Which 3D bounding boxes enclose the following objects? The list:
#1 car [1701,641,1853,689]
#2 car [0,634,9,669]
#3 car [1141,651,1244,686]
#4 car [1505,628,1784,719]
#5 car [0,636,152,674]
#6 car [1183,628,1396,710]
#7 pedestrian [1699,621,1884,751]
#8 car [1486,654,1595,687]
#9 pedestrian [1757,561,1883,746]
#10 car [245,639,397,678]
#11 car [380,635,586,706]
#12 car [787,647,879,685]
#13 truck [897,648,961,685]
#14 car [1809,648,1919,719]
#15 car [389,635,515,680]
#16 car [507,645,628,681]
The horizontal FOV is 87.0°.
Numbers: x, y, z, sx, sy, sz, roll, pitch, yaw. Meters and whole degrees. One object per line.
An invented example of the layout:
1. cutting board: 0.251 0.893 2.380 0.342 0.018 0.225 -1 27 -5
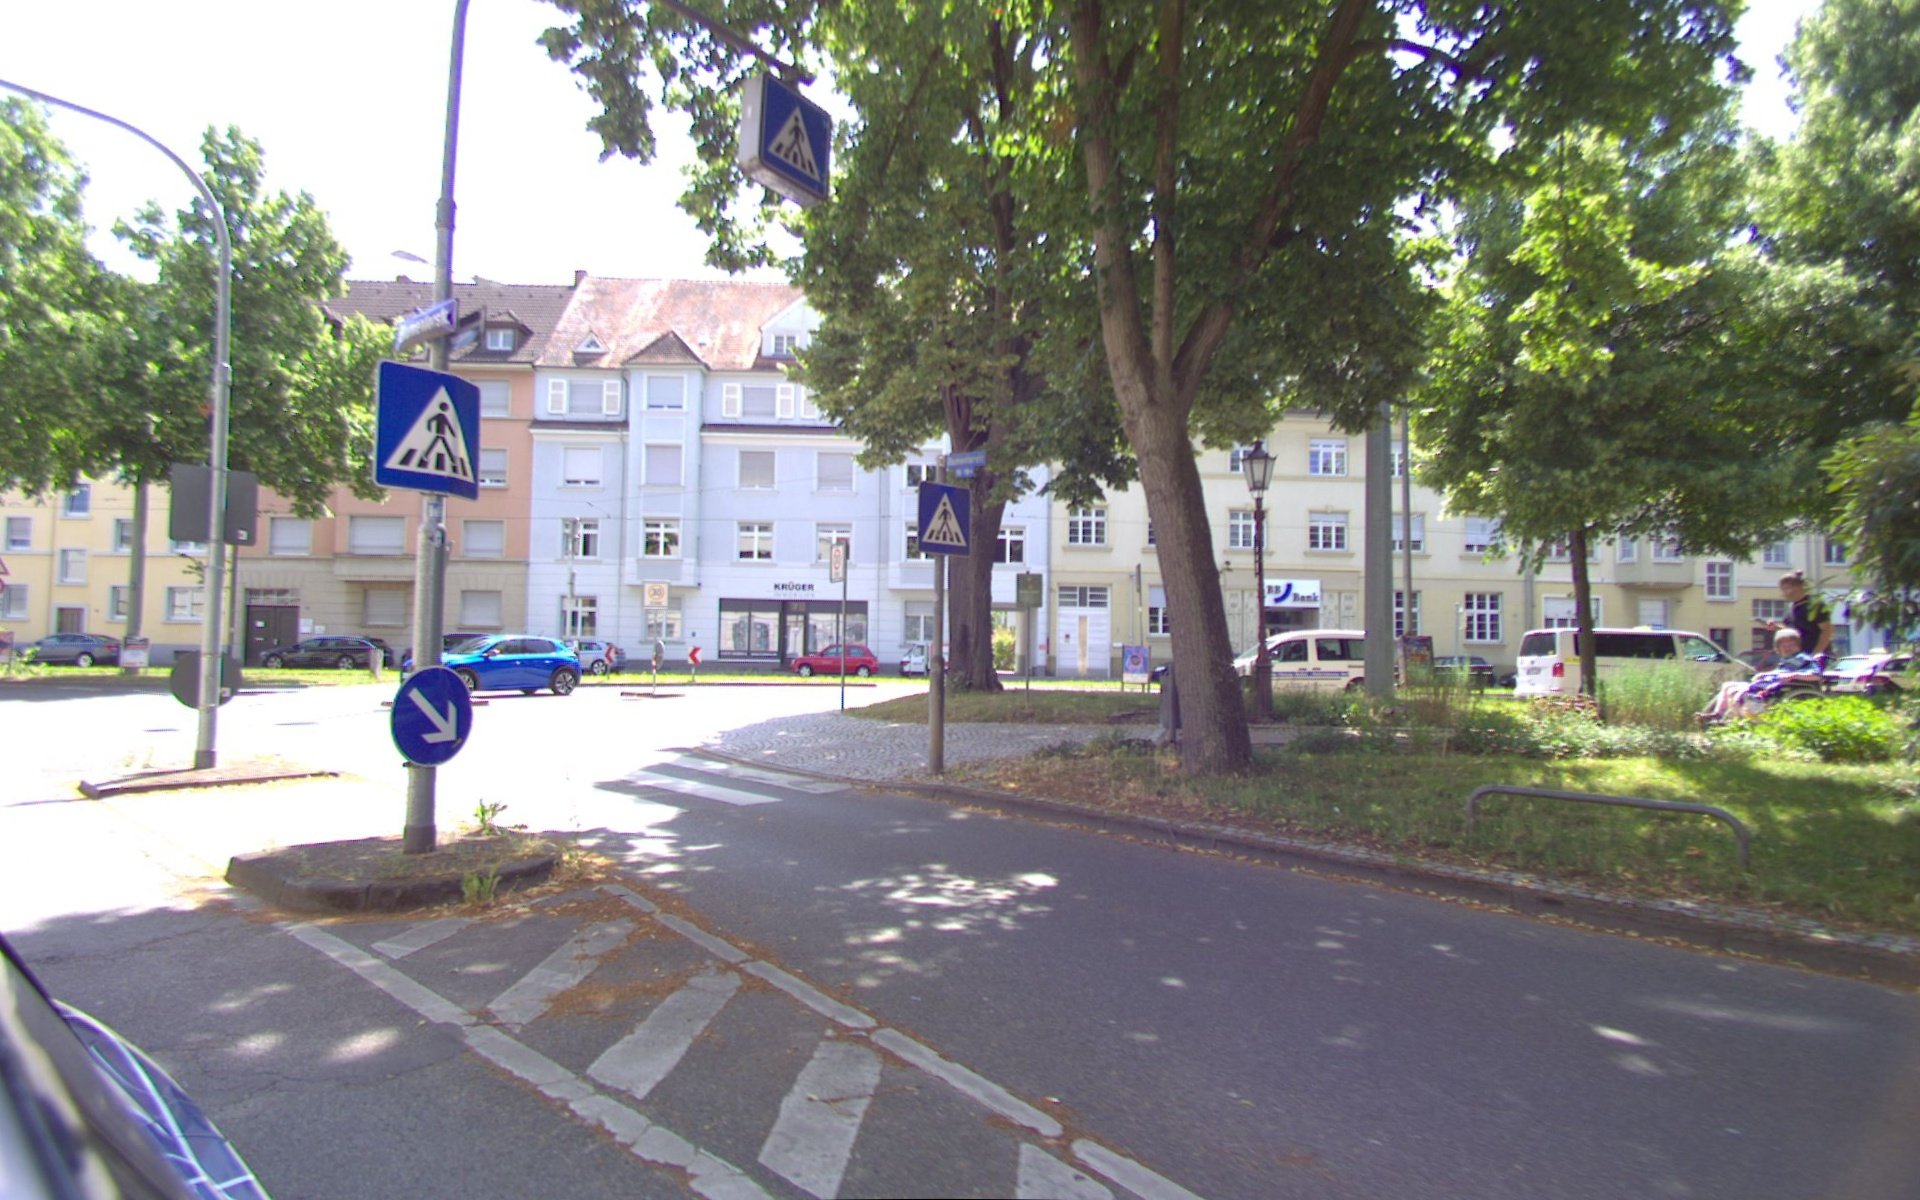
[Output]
1. car: 33.874 2.720 42.059 4.702 1.926 1.859 1 -5 -1
2. car: -40.843 2.012 40.321 4.083 1.411 1.837 1 -4 -1
3. car: 9.490 2.836 41.497 3.801 1.370 1.692 1 -5 -1
4. car: 16.163 1.727 24.103 5.175 2.018 2.056 0 -3 0
5. car: -35.394 2.218 40.316 4.794 1.409 1.934 0 -5 0
6. car: 7.737 1.625 24.084 4.358 1.840 2.001 1 -3 -2
7. pedestrian: 8.568 0.878 10.496 1.137 1.261 0.905 -2 -3 14
8. car: 24.015 2.928 41.931 3.534 1.288 1.607 1 -5 -1
9. pedestrian: 9.299 0.580 10.974 0.677 1.925 0.747 -2 -3 14
10. car: -25.524 2.361 40.572 4.793 1.502 1.934 1 -5 -1
11. car: -10.948 1.572 23.448 1.812 1.503 3.949 -3 -3 37
12. car: -5.116 2.691 41.118 3.573 1.462 1.577 1 -5 -1
13. truck: -1.277 2.738 41.498 2.556 1.506 1.130 1 -5 -3
14. car: 23.343 1.988 24.255 4.422 1.636 1.789 0 -3 0
15. car: -20.421 2.337 40.795 4.082 1.698 1.843 1 -5 -2
16. car: -15.808 2.573 40.937 4.188 1.367 1.813 1 -5 -2
